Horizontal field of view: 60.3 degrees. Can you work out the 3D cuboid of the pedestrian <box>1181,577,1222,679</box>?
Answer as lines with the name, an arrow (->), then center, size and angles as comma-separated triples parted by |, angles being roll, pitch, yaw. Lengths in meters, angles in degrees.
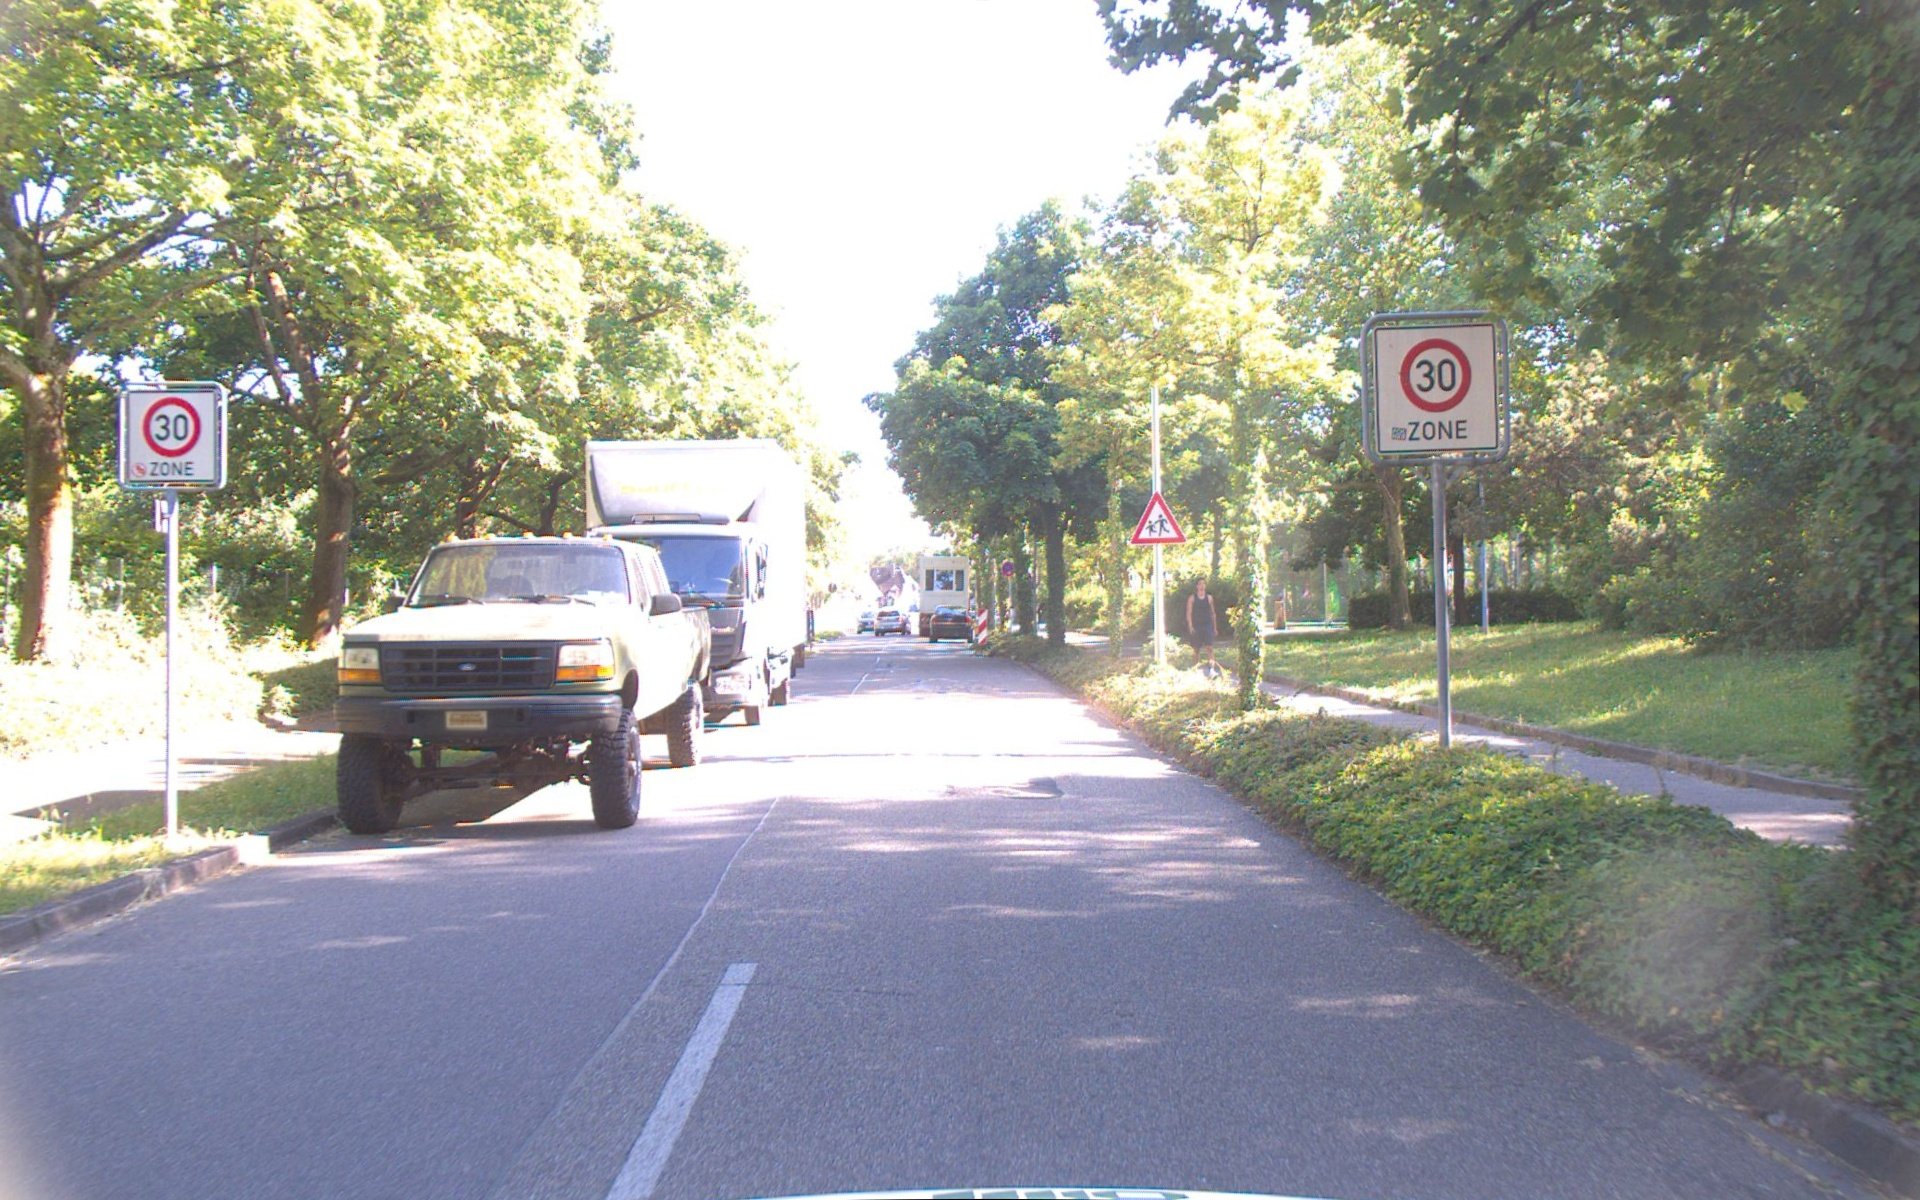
pedestrian -> 4.463, 0.511, 30.607 | 0.635, 1.852, 0.650 | -1, -1, -1

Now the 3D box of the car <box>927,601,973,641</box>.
car -> -0.415, 0.830, 65.926 | 1.758, 1.537, 3.999 | -1, 0, -1

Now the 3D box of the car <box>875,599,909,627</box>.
car -> -3.746, 0.713, 92.053 | 1.758, 1.537, 3.999 | -1, 0, -1

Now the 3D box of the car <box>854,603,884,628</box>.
car -> -5.735, 0.977, 104.636 | 1.758, 1.537, 3.999 | -1, 0, -1

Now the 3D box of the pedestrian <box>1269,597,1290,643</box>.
pedestrian -> 11.798, 0.727, 61.093 | 0.635, 1.690, 0.650 | -1, -1, 0

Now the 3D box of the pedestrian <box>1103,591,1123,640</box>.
pedestrian -> 5.347, 0.529, 57.831 | 0.635, 1.690, 0.650 | -1, -1, 0

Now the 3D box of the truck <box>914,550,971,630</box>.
truck -> -0.953, -0.526, 88.070 | 2.829, 4.013, 9.998 | -1, 0, -1

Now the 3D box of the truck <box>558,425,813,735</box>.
truck -> -3.669, -0.234, 23.961 | 2.561, 3.690, 7.953 | -1, 0, -2

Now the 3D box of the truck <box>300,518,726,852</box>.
truck -> -3.379, 0.555, 14.111 | 2.071, 2.131, 6.644 | -1, 0, -3
